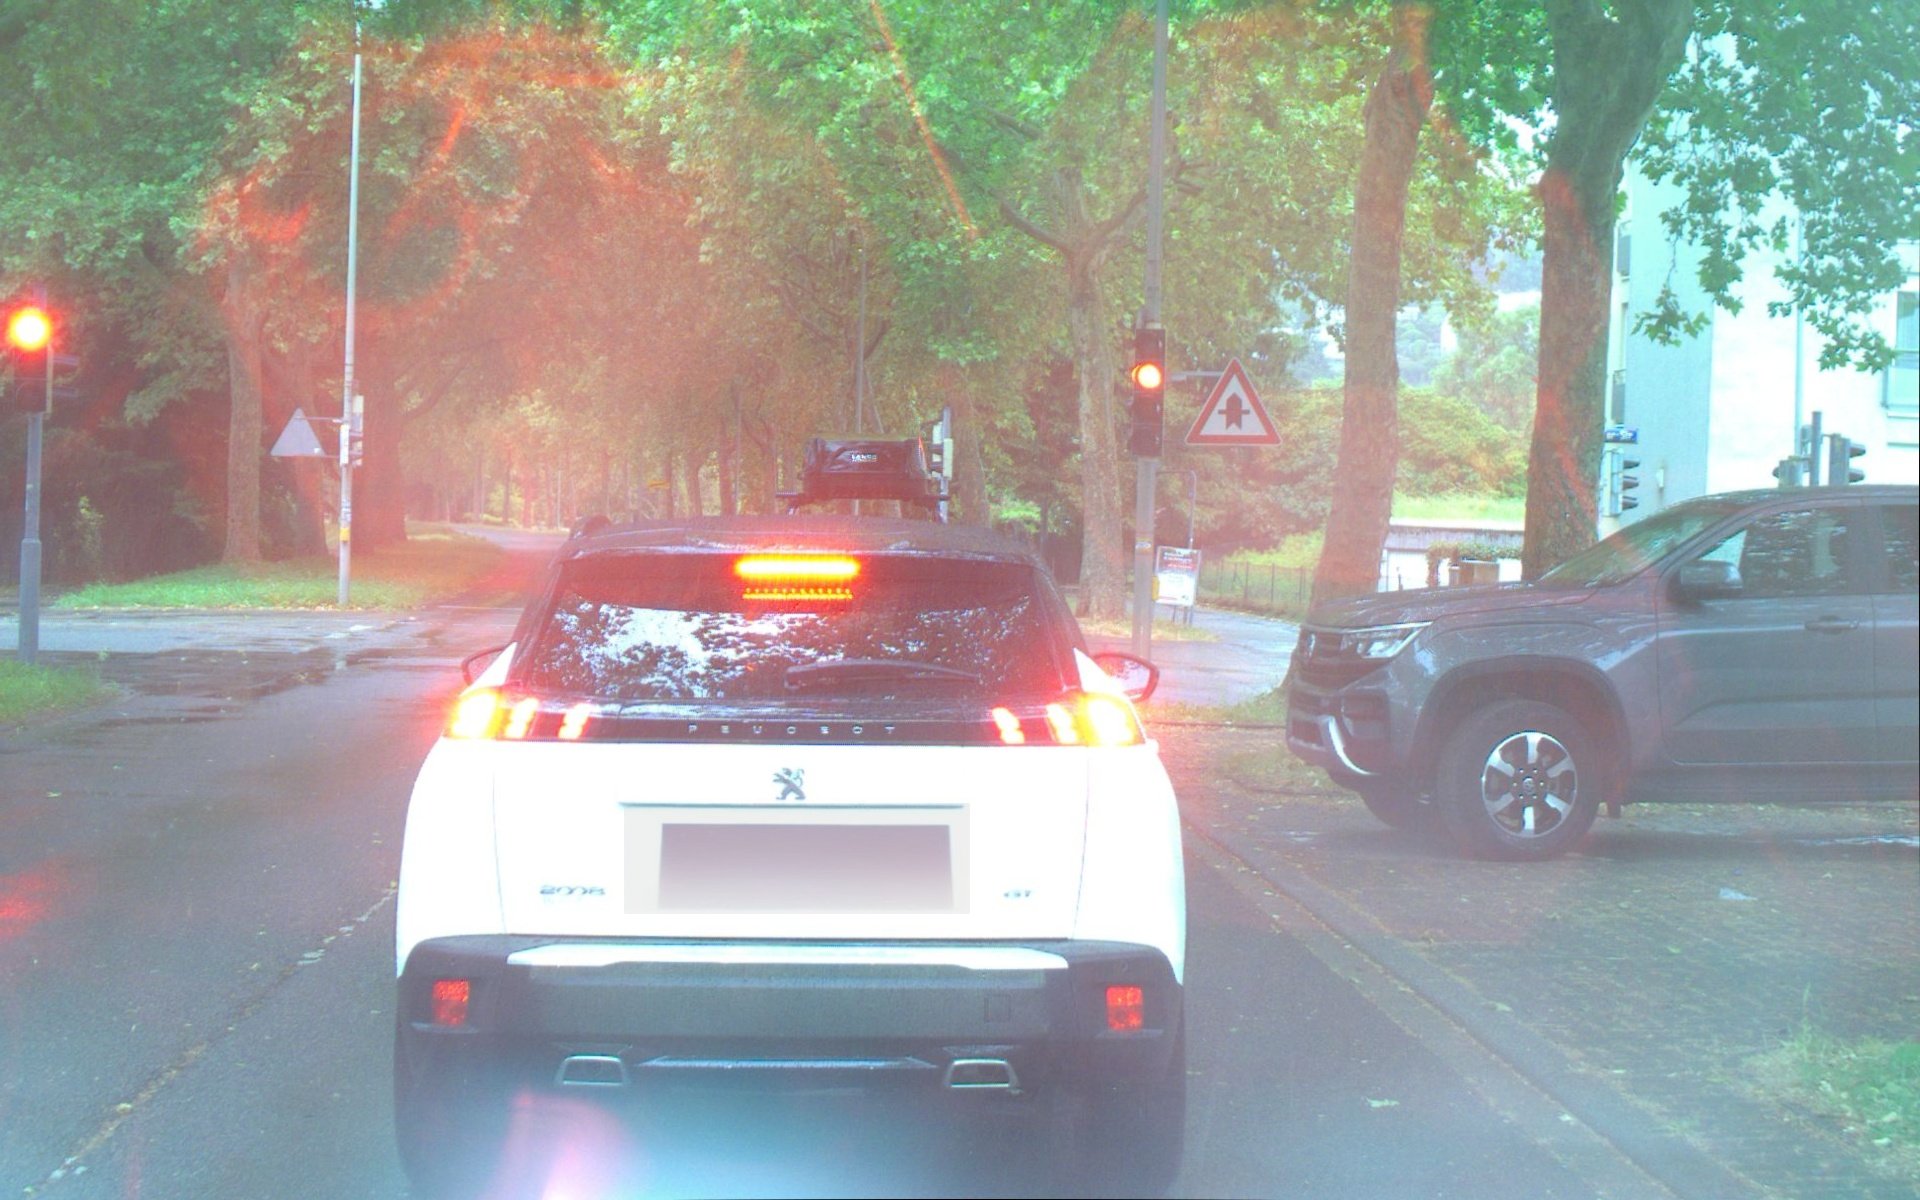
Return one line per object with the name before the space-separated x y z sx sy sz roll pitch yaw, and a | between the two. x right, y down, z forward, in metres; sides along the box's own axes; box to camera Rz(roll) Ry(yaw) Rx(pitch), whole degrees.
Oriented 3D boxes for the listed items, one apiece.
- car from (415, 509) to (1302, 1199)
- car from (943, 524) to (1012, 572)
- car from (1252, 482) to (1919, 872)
car | -0.245 0.548 9.057 1.780 1.531 4.058 1 1 -1
car | 0.545 -1.728 112.956 1.905 1.504 3.932 1 1 -5
car | 4.280 0.351 17.126 5.337 1.800 1.846 0 1 -7
